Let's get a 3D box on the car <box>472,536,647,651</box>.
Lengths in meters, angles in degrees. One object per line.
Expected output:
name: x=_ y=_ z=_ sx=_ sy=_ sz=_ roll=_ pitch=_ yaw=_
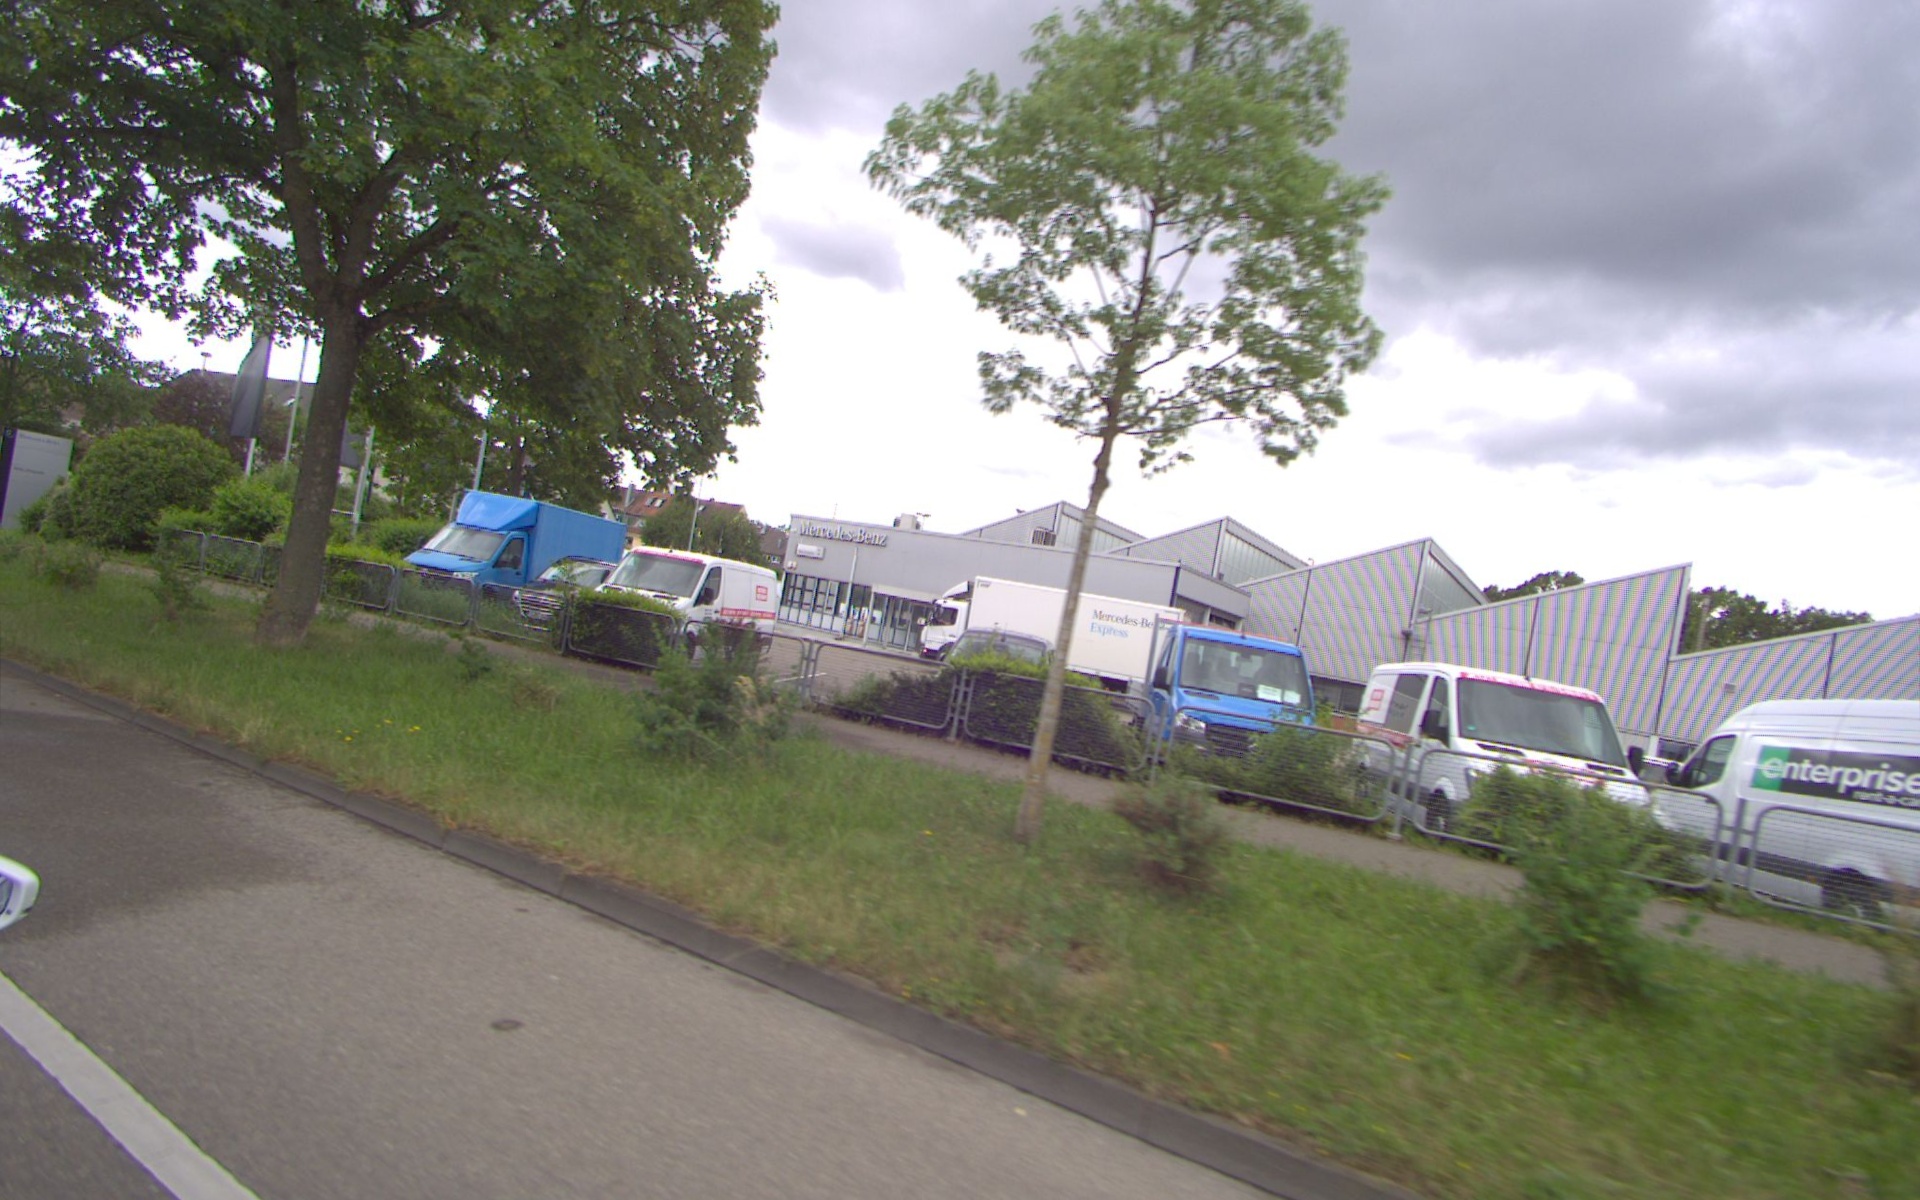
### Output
car: x=-8.880 y=-0.036 z=22.742 sx=1.889 sy=2.098 sz=4.006 roll=8 pitch=-3 yaw=4

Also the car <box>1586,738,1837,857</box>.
car: x=16.521 y=4.308 z=22.316 sx=3.924 sy=1.772 sz=1.808 roll=8 pitch=-2 yaw=9

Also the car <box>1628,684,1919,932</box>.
car: x=10.182 y=2.236 z=11.370 sx=2.032 sy=2.212 sz=5.271 roll=8 pitch=-3 yaw=8

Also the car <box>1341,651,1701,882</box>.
car: x=6.646 y=1.862 z=12.888 sx=2.032 sy=1.978 sz=5.838 roll=8 pitch=-3 yaw=11

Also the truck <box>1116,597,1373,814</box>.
truck: x=3.826 y=1.425 z=14.968 sx=2.205 sy=2.236 sz=6.263 roll=8 pitch=-3 yaw=5

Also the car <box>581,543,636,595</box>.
car: x=-21.454 y=-1.917 z=61.659 sx=2.228 sy=2.709 sz=5.433 roll=9 pitch=0 yaw=-13

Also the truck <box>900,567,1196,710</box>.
truck: x=3.000 y=1.304 z=34.643 sx=9.364 sy=3.497 sz=2.866 roll=8 pitch=-2 yaw=21

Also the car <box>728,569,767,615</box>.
car: x=-14.952 y=-0.615 z=70.649 sx=2.228 sy=2.709 sz=5.433 roll=9 pitch=0 yaw=-13

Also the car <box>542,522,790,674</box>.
car: x=-5.735 y=0.164 z=20.815 sx=2.317 sy=2.393 sz=6.041 roll=8 pitch=-3 yaw=9

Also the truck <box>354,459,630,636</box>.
truck: x=-11.585 y=-1.048 z=25.928 sx=2.569 sy=3.517 sz=7.195 roll=8 pitch=-1 yaw=8

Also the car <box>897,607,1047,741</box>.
car: x=0.321 y=1.181 z=16.438 sx=1.962 sy=1.647 sz=4.006 roll=8 pitch=-3 yaw=5
